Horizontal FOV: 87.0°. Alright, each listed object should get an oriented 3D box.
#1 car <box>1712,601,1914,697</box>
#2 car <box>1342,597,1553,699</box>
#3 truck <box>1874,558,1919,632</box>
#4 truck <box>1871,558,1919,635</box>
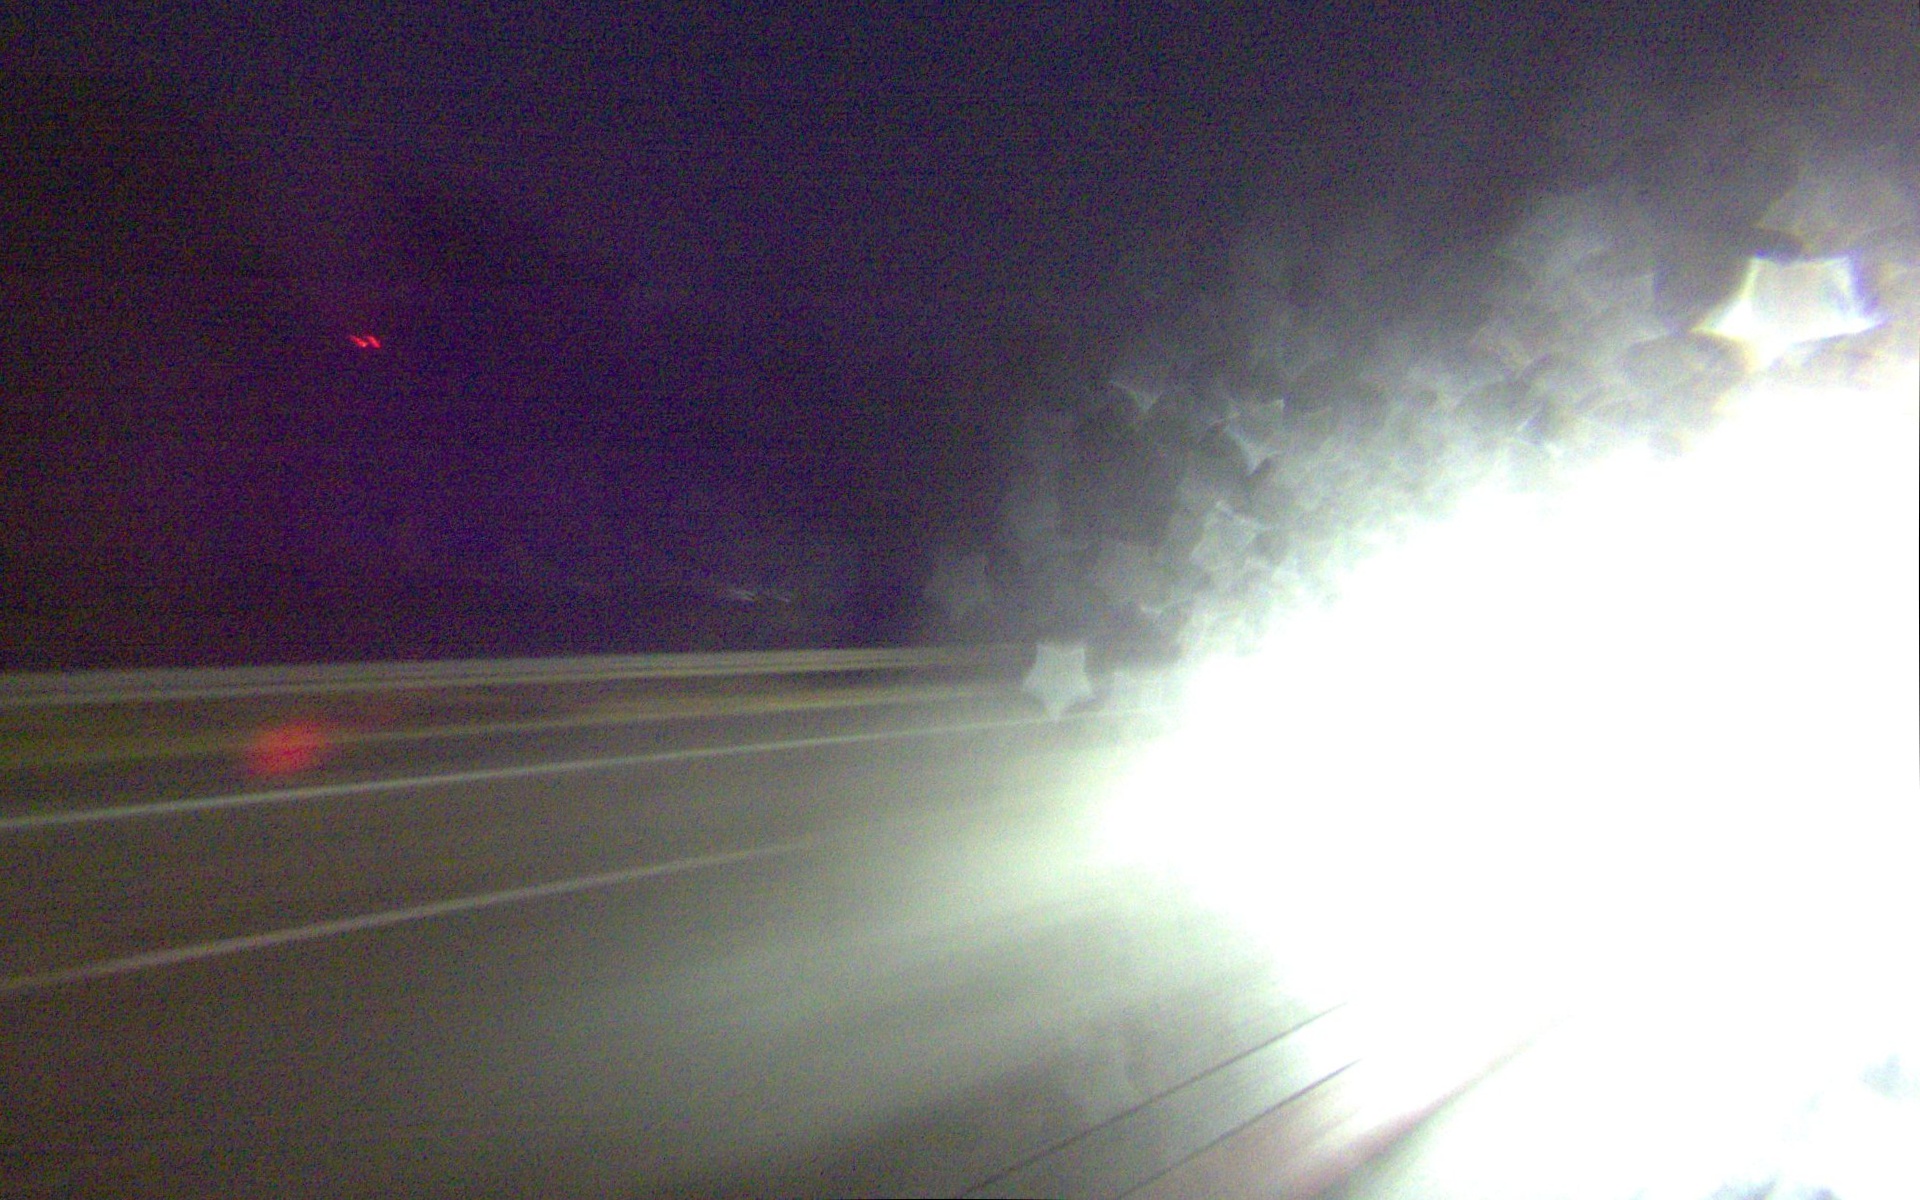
[{"bbox_3d":[14.873,0.760,17.575,4.258,1.467,1.997,0,0,-40],"label":"car"},{"bbox_3d":[8.279,0.724,17.060,3.972,1.516,1.723,0,0,-40],"label":"car"},{"bbox_3d":[60.641,-0.520,64.477,2.760,4.273,13.607,4,5,44],"label":"truck"},{"bbox_3d":[55.680,-0.310,59.434,2.761,4.273,6.096,4,5,45],"label":"truck"}]
